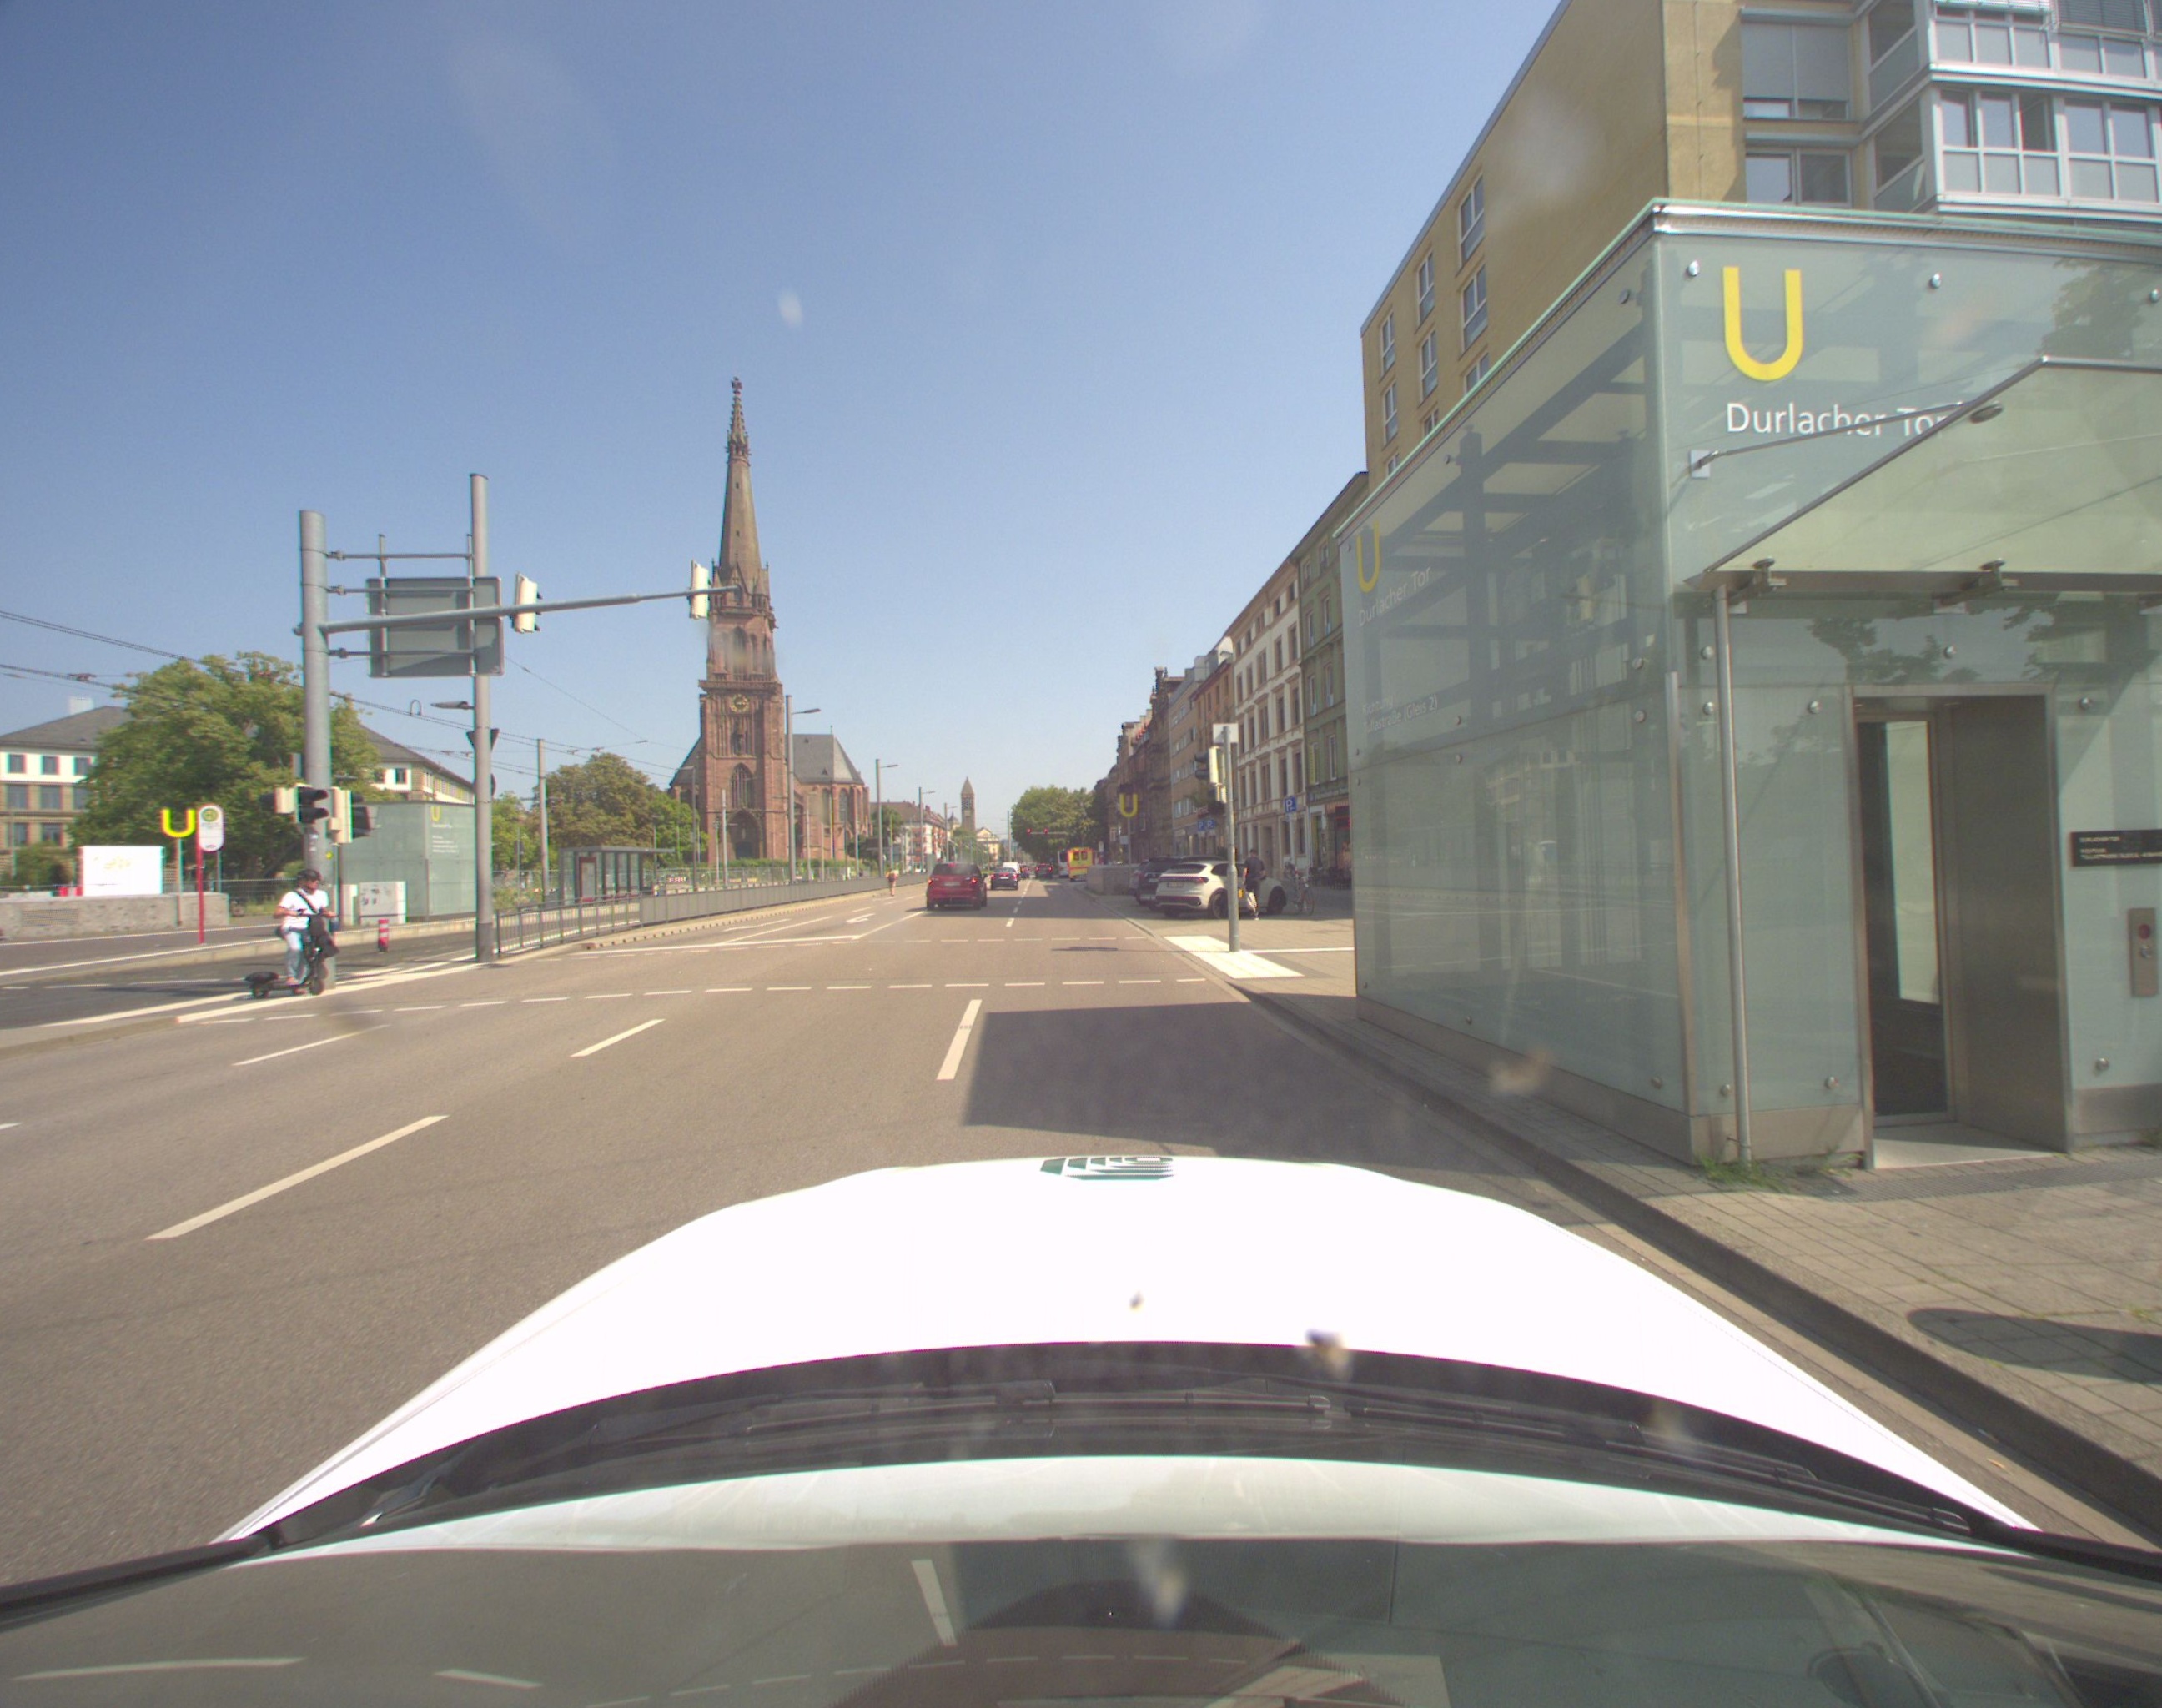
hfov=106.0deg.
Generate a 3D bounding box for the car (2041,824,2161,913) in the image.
[{"bbox_3d":[18.819,0.239,12.985,1.897,1.470,4.238,1,-1,-6],"label":"car"}]

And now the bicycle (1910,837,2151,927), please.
[{"bbox_3d":[14.564,0.408,12.644,0.790,1.238,2.431,-2,-1,-3],"label":"bicycle"}]

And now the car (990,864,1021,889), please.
[{"bbox_3d":[-4.646,1.370,50.401,1.787,1.431,3.993,-2,0,-5],"label":"car"}]

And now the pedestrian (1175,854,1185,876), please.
[{"bbox_3d":[8.329,0.945,68.374,0.598,1.795,0.879,-4,-1,-3],"label":"pedestrian"}]

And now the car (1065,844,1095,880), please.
[{"bbox_3d":[-0.041,0.669,69.664,2.291,2.888,5.599,-3,0,1],"label":"car"}]

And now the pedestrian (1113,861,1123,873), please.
[{"bbox_3d":[5.488,1.927,121.206,1.246,1.751,1.524,-2,1,-3],"label":"pedestrian"}]

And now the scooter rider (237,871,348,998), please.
[{"bbox_3d":[-10.963,1.089,11.353,0.770,1.673,0.777,-2,-1,-7],"label":"scooter rider"}]

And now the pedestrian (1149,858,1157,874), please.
[{"bbox_3d":[7.058,1.185,79.788,0.642,1.493,0.788,-2,-1,-4],"label":"pedestrian"}]

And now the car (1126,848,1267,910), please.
[{"bbox_3d":[3.623,0.717,24.986,1.962,1.687,4.418,-3,-1,45],"label":"car"}]

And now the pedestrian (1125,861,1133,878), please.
[{"bbox_3d":[4.751,1.503,80.645,0.695,1.667,0.602,-2,-1,-2],"label":"pedestrian"}]

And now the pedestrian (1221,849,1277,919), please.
[{"bbox_3d":[4.216,0.729,20.475,1.041,1.704,0.895,0,-1,-30],"label":"pedestrian"}]

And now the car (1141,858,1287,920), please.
[{"bbox_3d":[3.608,0.868,21.832,3.804,1.500,1.786,1,0,-39],"label":"car"}]

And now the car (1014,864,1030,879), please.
[{"bbox_3d":[-6.962,2.099,96.603,1.787,1.698,3.993,-2,-2,-5],"label":"car"}]

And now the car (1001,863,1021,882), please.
[{"bbox_3d":[-6.833,1.830,79.695,1.787,1.780,3.993,-2,-2,-5],"label":"car"}]

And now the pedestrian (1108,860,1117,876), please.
[{"bbox_3d":[3.178,1.416,82.897,0.690,1.667,0.606,-2,-1,22],"label":"pedestrian"}]

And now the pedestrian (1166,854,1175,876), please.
[{"bbox_3d":[7.523,0.935,68.440,0.576,1.750,0.678,-4,-1,-4],"label":"pedestrian"}]

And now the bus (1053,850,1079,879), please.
[{"bbox_3d":[-1.832,1.237,94.650,2.528,3.032,12.420,-2,-1,-3],"label":"bus"}]

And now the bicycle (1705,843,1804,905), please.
[{"bbox_3d":[14.007,0.413,16.950,1.722,1.207,0.587,-2,-1,-11],"label":"bicycle"}]

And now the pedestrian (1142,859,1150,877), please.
[{"bbox_3d":[6.343,1.352,79.736,0.642,1.685,0.788,-2,-1,-4],"label":"pedestrian"}]

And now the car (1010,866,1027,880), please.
[{"bbox_3d":[-6.738,2.077,87.724,1.787,1.473,3.993,-2,-2,-5],"label":"car"}]

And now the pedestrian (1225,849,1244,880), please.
[{"bbox_3d":[9.487,0.629,50.454,0.842,1.846,0.683,-3,-1,-13],"label":"pedestrian"}]

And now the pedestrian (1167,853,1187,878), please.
[{"bbox_3d":[6.318,0.752,53.479,0.856,1.582,0.960,-1,-2,-37],"label":"pedestrian"}]

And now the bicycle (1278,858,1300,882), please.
[{"bbox_3d":[11.146,0.847,43.797,0.479,1.146,2.470,-2,1,-1],"label":"bicycle"}]

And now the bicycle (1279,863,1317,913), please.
[{"bbox_3d":[5.911,0.926,22.258,0.472,1.296,1.790,-3,-2,-1],"label":"bicycle"}]

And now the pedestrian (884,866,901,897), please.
[{"bbox_3d":[-11.036,1.622,47.645,0.759,1.752,1.067,-2,-2,-5],"label":"pedestrian"}]

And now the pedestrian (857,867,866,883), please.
[{"bbox_3d":[-24.658,2.346,91.547,0.827,1.752,0.720,-2,-2,-3],"label":"pedestrian"}]

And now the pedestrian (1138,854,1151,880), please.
[{"bbox_3d":[4.450,0.891,56.977,0.846,1.729,0.972,-3,1,3],"label":"pedestrian"}]

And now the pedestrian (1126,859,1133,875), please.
[{"bbox_3d":[5.251,1.439,88.344,0.695,1.667,1.064,-2,-1,-1],"label":"pedestrian"}]

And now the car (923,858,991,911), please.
[{"bbox_3d":[-4.176,1.005,28.063,1.757,1.618,4.079,-2,-1,-1],"label":"car"}]

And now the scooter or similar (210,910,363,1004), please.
[{"bbox_3d":[-11.050,1.412,11.364,1.336,1.148,0.708,-3,0,-6],"label":"scooter or similar"}]

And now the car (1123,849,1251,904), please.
[{"bbox_3d":[3.826,0.754,28.818,2.018,1.713,4.693,-2,-1,45],"label":"car"}]

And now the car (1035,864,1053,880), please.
[{"bbox_3d":[-4.019,1.950,88.346,1.787,1.677,3.993,-2,-2,-5],"label":"car"}]

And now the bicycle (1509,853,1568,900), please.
[{"bbox_3d":[12.507,0.600,22.331,0.408,1.238,1.823,-2,0,-6],"label":"bicycle"}]
